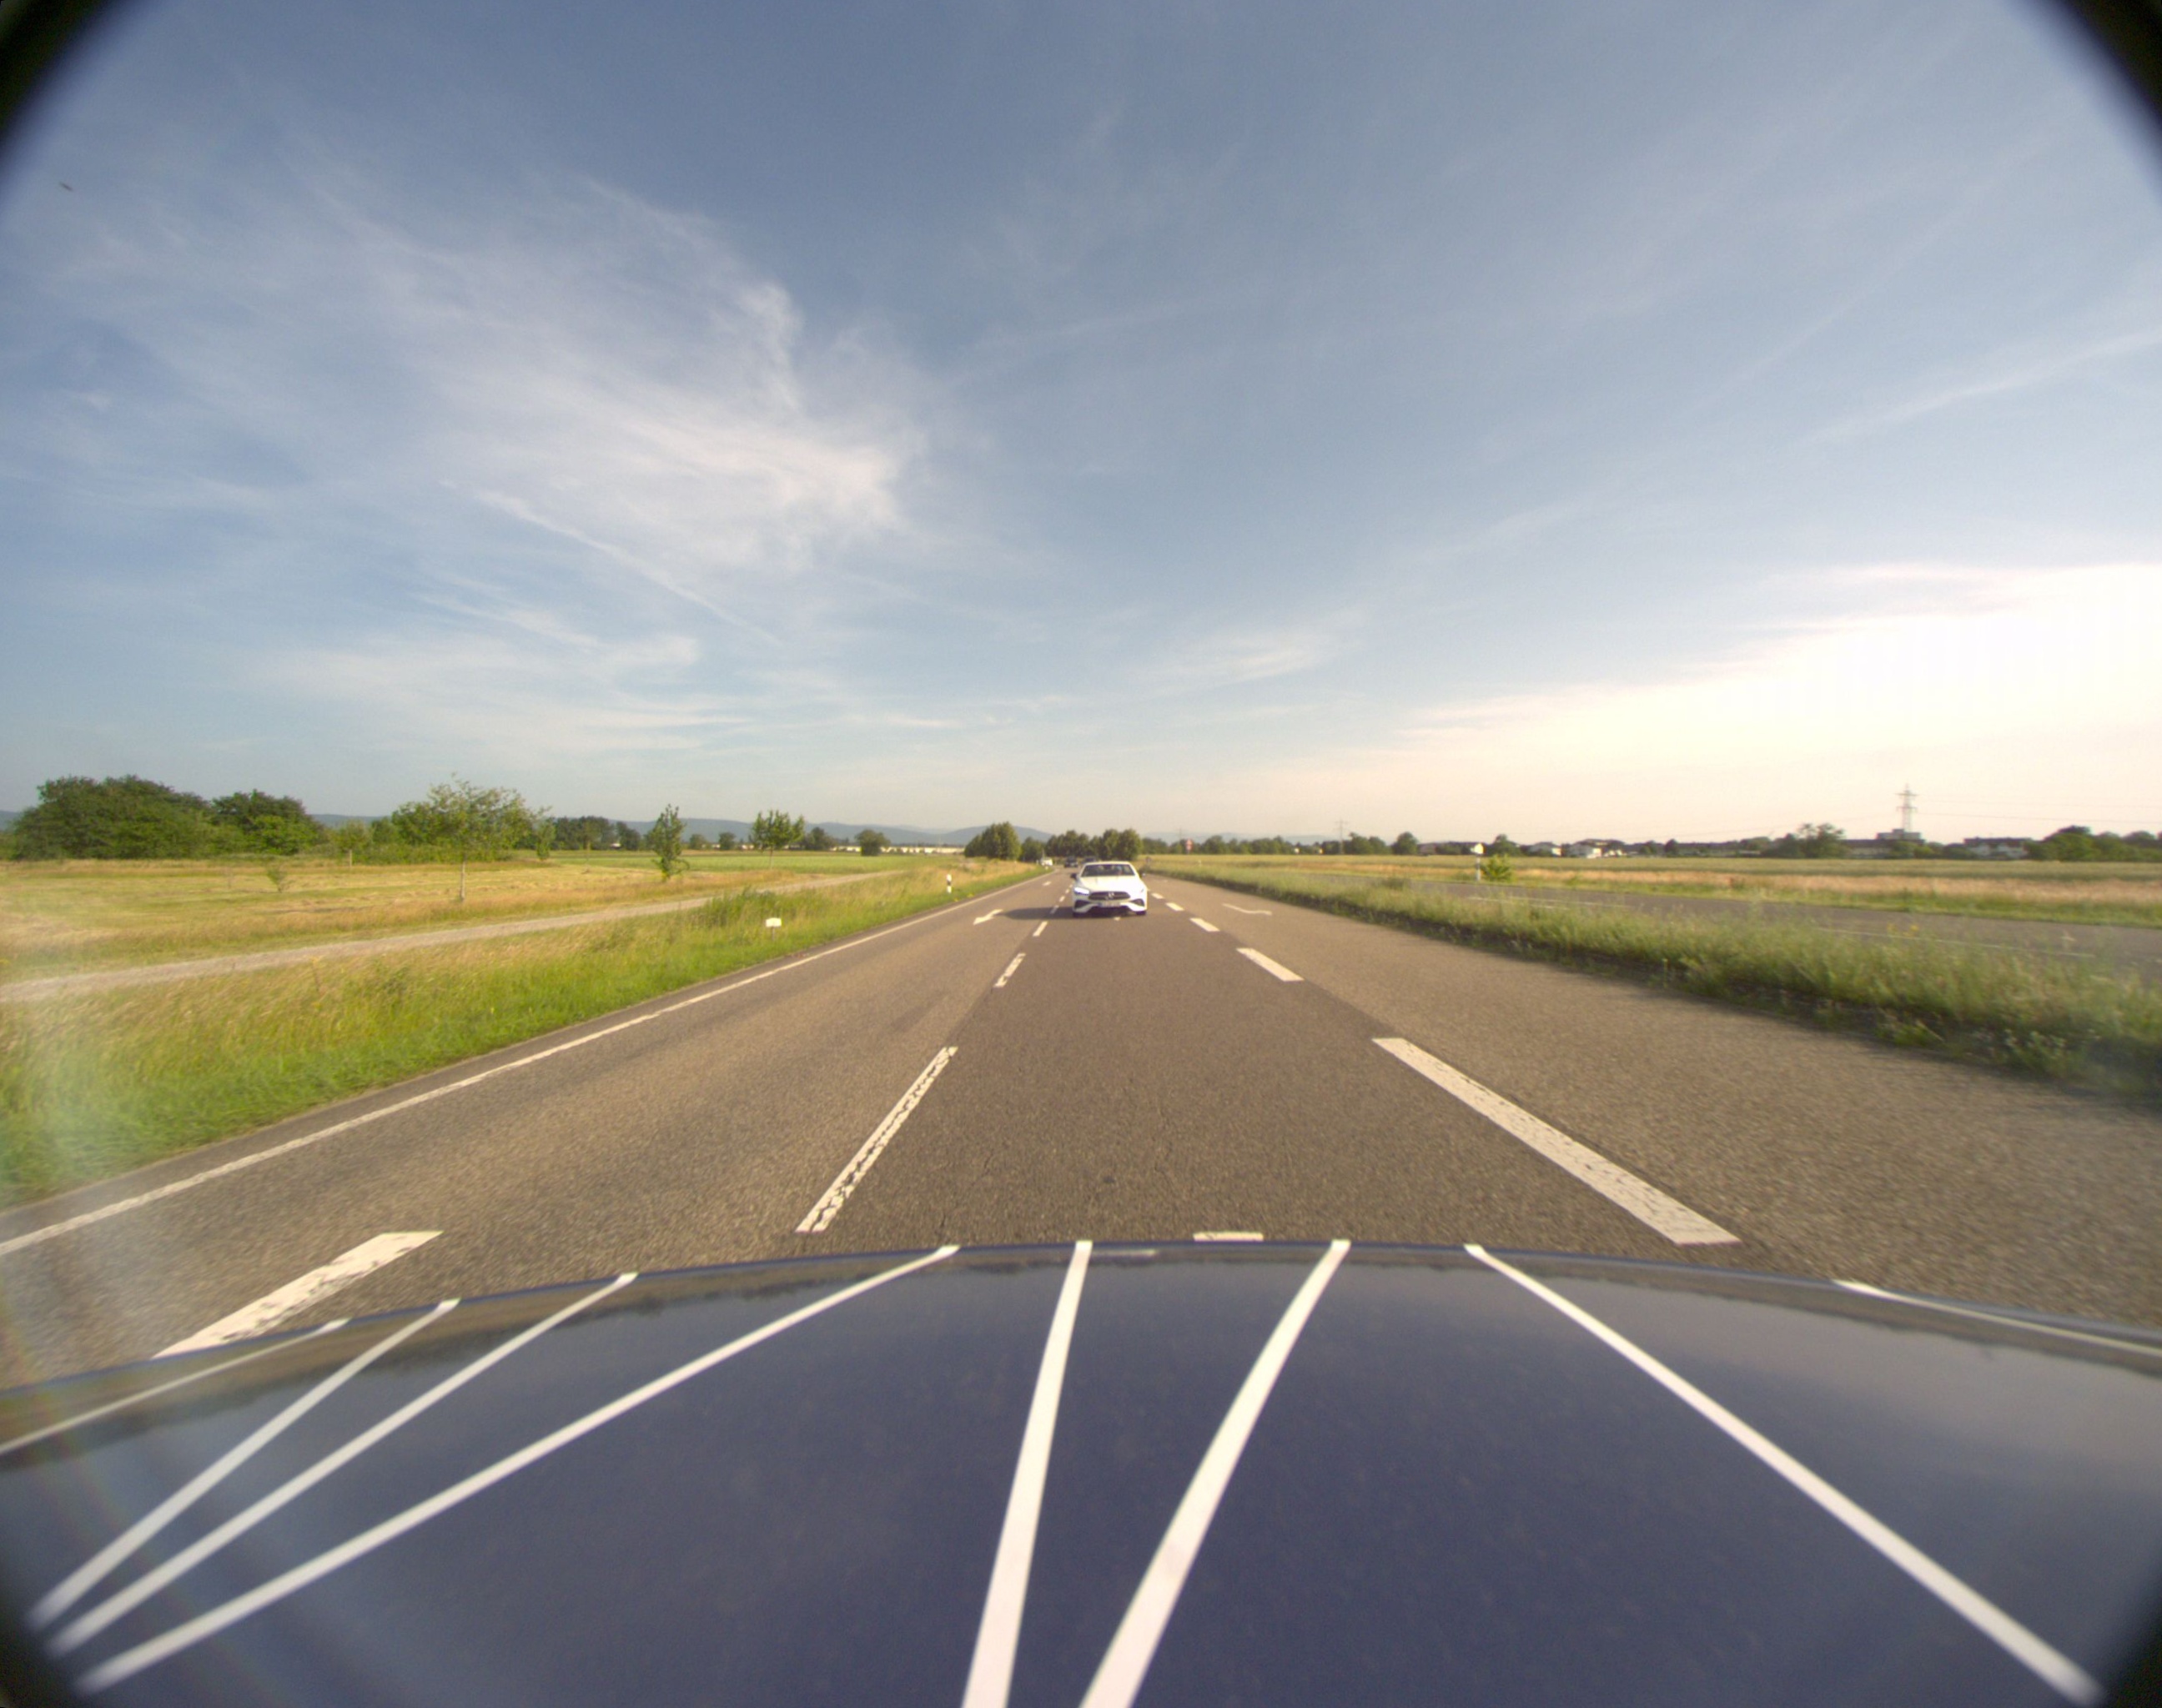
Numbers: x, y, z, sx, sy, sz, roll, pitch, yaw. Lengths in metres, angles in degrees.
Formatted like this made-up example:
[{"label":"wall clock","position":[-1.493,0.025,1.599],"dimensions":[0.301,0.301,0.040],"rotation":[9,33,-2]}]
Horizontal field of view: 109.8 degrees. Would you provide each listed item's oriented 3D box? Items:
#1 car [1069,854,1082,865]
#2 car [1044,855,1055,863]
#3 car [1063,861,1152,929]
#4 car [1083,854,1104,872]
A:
[{"label":"car","position":[-0.711,0.742,106.262],"dimensions":[1.556,1.550,3.050],"rotation":[-1,0,4]},{"label":"car","position":[-5.719,0.899,136.805],"dimensions":[1.556,1.392,4.036],"rotation":[-1,0,4]},{"label":"car","position":[0.719,0.941,18.932],"dimensions":[1.940,1.389,3.919],"rotation":[-2,0,4]},{"label":"car","position":[1.136,0.786,66.413],"dimensions":[1.584,1.496,3.662],"rotation":[-1,0,4]}]
